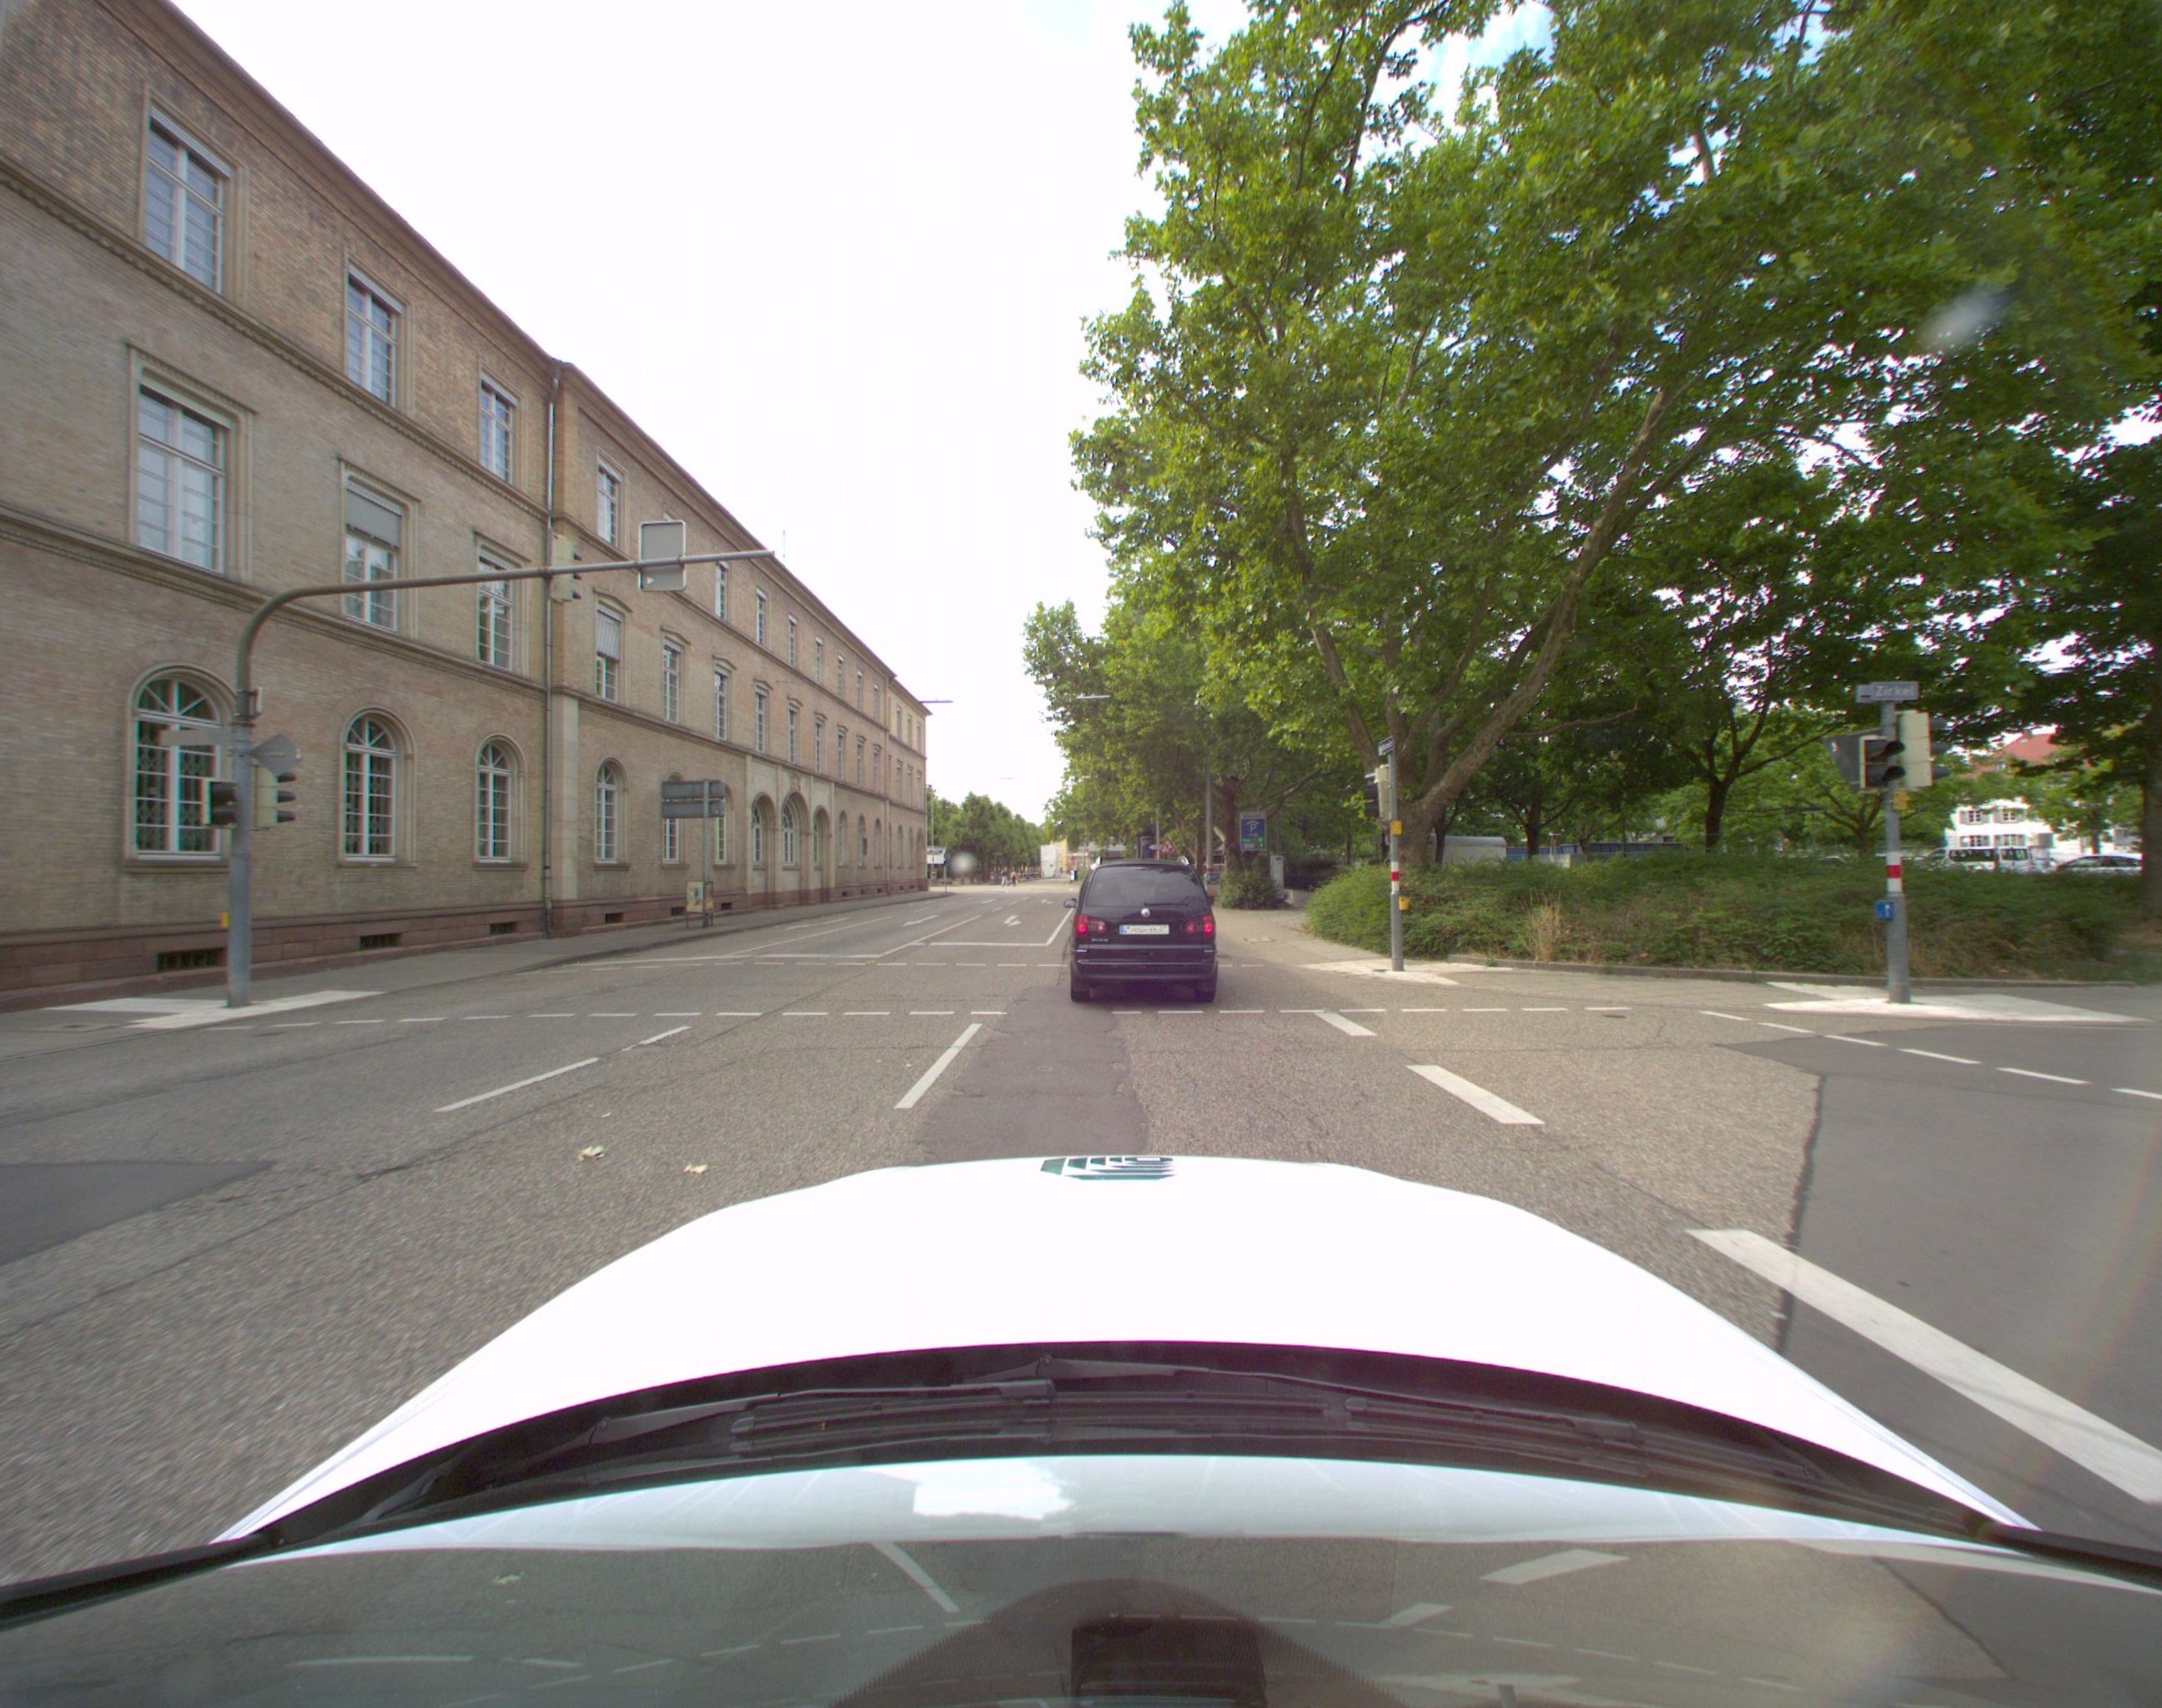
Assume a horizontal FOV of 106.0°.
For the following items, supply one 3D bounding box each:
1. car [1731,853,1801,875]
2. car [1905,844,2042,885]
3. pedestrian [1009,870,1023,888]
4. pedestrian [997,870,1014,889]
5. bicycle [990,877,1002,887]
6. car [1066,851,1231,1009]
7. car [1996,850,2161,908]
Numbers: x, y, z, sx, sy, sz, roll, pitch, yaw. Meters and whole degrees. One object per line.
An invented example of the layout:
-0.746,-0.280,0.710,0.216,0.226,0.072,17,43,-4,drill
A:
50.172,0.734,59.751,1.988,1.581,3.787,1,-1,-2,car
47.477,0.562,43.503,1.989,2.014,4.767,1,-1,-3,car
-5.990,2.298,74.780,0.887,1.641,0.858,0,-1,37,pedestrian
-6.956,2.333,75.240,0.951,1.742,1.263,0,-1,40,pedestrian
-9.972,3.240,95.857,0.954,1.110,2.565,1,-1,-16,bicycle
0.773,0.865,11.021,1.787,1.708,4.131,-1,-1,1,car
34.079,0.815,27.045,1.988,1.794,4.770,1,-1,-1,car
